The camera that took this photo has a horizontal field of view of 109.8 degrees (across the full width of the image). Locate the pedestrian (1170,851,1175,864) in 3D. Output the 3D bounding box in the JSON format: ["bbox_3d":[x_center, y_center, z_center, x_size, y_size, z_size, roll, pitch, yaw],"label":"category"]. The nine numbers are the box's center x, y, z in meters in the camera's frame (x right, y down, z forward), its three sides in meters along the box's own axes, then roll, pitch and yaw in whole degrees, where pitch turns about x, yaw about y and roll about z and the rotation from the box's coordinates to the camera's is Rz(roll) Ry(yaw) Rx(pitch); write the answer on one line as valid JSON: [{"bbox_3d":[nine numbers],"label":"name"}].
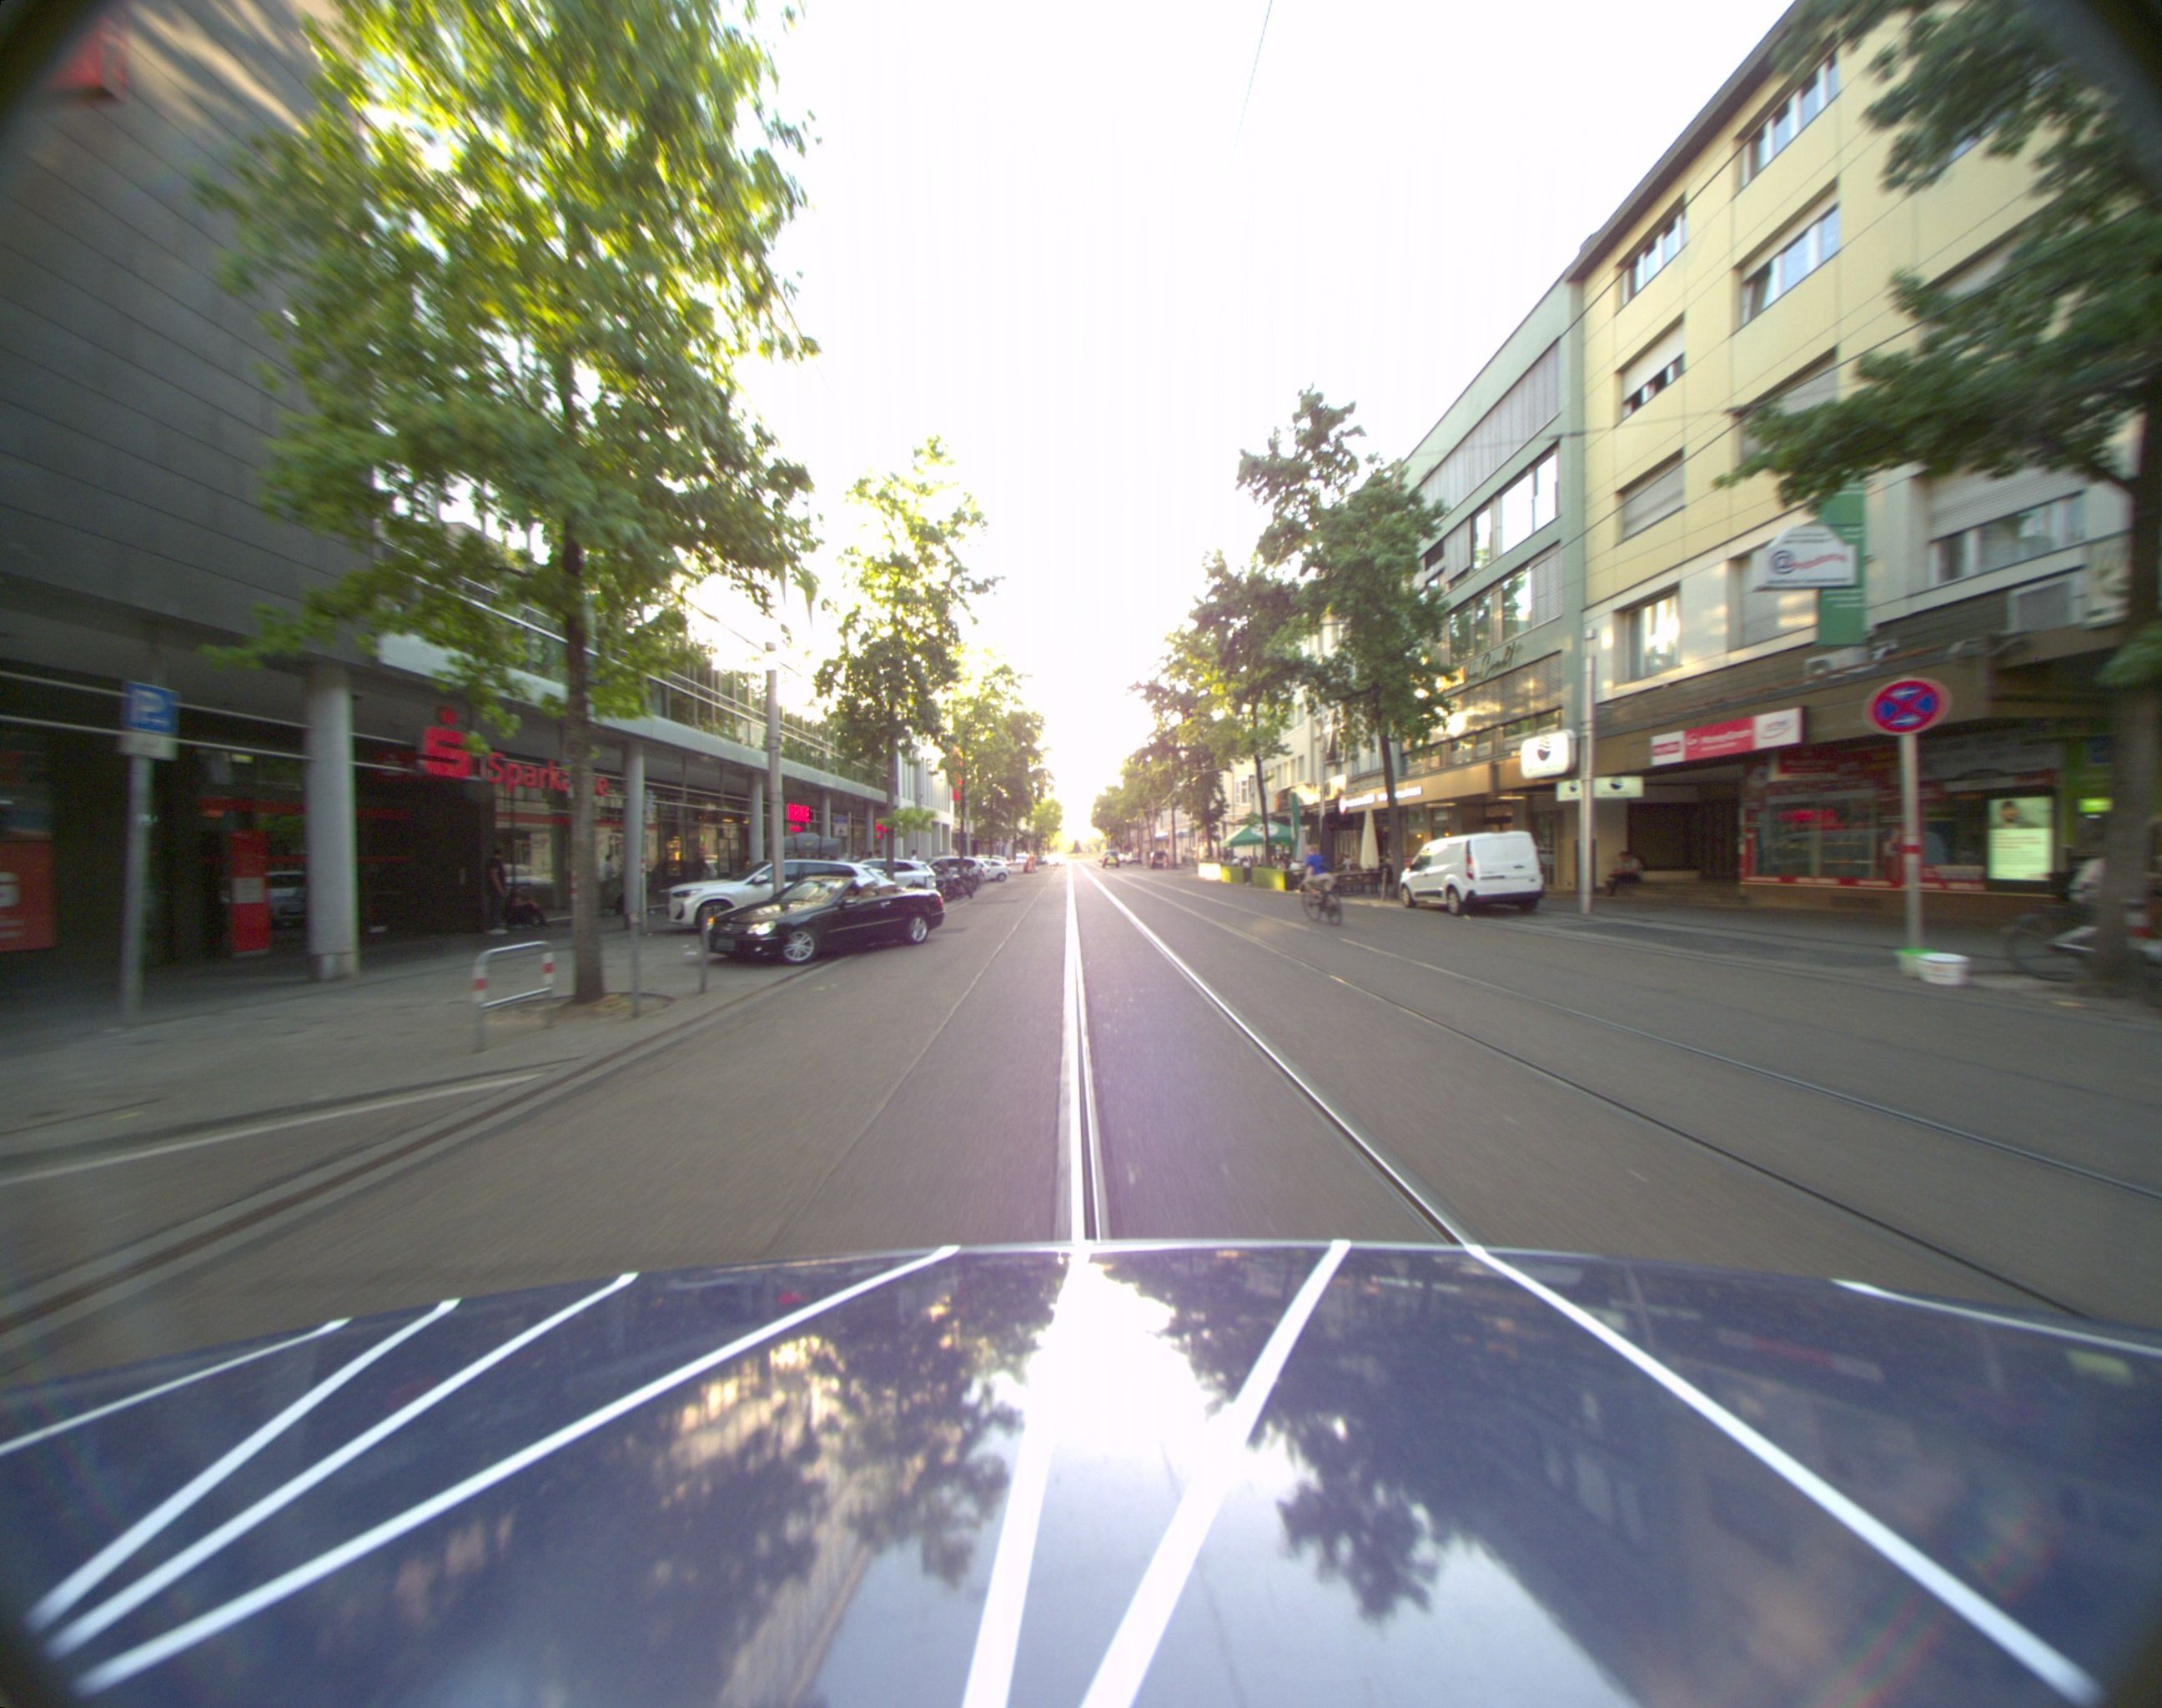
[{"bbox_3d":[9.974,0.387,82.782,0.490,1.451,0.543,-1,1,-2],"label":"pedestrian"}]

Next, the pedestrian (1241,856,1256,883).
[{"bbox_3d":[8.520,0.794,38.710,0.649,1.378,0.650,-1,1,6],"label":"pedestrian"}]

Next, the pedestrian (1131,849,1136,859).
[{"bbox_3d":[7.616,0.009,110.520,0.650,1.451,0.650,-1,1,-2],"label":"pedestrian"}]

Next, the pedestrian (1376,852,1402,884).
[{"bbox_3d":[12.967,0.584,32.013,0.701,1.308,0.786,-1,1,-5],"label":"pedestrian"}]

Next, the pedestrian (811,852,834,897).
[{"bbox_3d":[-9.687,0.751,28.480,0.618,1.681,0.628,0,1,0],"label":"pedestrian"}]

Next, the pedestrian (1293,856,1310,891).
[{"bbox_3d":[9.363,0.810,32.267,0.649,1.451,0.651,-1,1,17],"label":"pedestrian"}]

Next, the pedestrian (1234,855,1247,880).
[{"bbox_3d":[8.952,0.735,42.604,0.649,1.378,0.650,-1,1,6],"label":"pedestrian"}]

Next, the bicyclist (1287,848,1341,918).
[{"bbox_3d":[4.879,0.589,15.949,0.761,1.406,0.897,-2,1,-7],"label":"bicyclist"}]

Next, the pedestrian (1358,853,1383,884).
[{"bbox_3d":[12.210,0.606,32.044,0.701,1.308,0.786,-1,1,-5],"label":"pedestrian"}]

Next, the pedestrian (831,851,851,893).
[{"bbox_3d":[-9.823,0.724,31.117,0.618,1.681,0.628,0,1,0],"label":"pedestrian"}]

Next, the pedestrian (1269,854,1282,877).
[{"bbox_3d":[12.455,0.753,48.682,0.650,1.451,0.650,-1,1,-3],"label":"pedestrian"}]

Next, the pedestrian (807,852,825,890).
[{"bbox_3d":[-11.739,0.747,33.702,0.558,1.681,0.628,0,1,0],"label":"pedestrian"}]

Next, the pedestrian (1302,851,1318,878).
[{"bbox_3d":[12.390,0.545,41.102,0.650,1.451,0.650,-1,1,-3],"label":"pedestrian"}]

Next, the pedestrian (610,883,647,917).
[{"bbox_3d":[-12.113,1.231,20.342,0.627,0.876,0.558,0,1,-1],"label":"pedestrian"}]

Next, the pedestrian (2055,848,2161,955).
[{"bbox_3d":[12.879,0.570,9.439,0.642,1.221,0.665,-6,2,-2],"label":"pedestrian"}]

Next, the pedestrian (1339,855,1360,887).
[{"bbox_3d":[12.213,0.772,34.587,0.650,1.451,0.649,-1,1,-9],"label":"pedestrian"}]

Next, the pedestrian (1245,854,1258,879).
[{"bbox_3d":[9.546,0.718,42.580,0.649,1.378,0.650,-1,1,6],"label":"pedestrian"}]

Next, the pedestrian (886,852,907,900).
[{"bbox_3d":[-6.945,0.814,28.661,0.618,1.789,0.628,0,1,0],"label":"pedestrian"}]

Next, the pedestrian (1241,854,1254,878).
[{"bbox_3d":[9.595,0.702,43.792,0.649,1.378,0.650,-1,1,6],"label":"pedestrian"}]

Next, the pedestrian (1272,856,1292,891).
[{"bbox_3d":[8.567,0.832,32.417,0.649,1.451,0.650,-1,1,0],"label":"pedestrian"}]

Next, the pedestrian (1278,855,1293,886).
[{"bbox_3d":[9.518,0.768,35.387,0.649,1.451,0.651,-1,1,13],"label":"pedestrian"}]

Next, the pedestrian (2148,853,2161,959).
[{"bbox_3d":[12.804,0.583,8.538,0.642,1.221,0.665,-6,2,-2],"label":"pedestrian"}]

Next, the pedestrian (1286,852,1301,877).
[{"bbox_3d":[12.487,0.637,44.701,0.650,1.451,0.650,-1,1,-3],"label":"pedestrian"}]

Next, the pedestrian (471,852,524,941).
[{"bbox_3d":[-11.807,0.840,15.379,0.558,1.762,0.628,0,1,0],"label":"pedestrian"}]

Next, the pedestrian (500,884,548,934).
[{"bbox_3d":[-12.025,1.180,16.427,0.628,1.030,0.558,0,1,-9],"label":"pedestrian"}]

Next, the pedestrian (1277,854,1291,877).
[{"bbox_3d":[13.027,0.735,48.808,0.650,1.451,0.650,-1,1,-3],"label":"pedestrian"}]

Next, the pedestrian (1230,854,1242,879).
[{"bbox_3d":[8.945,0.720,43.846,0.649,1.378,0.650,-1,1,6],"label":"pedestrian"}]

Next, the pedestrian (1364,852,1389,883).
[{"bbox_3d":[12.826,0.577,32.973,0.701,1.308,0.786,-1,1,-5],"label":"pedestrian"}]

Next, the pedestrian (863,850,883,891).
[{"bbox_3d":[-8.589,0.684,31.404,0.618,1.681,0.628,0,1,0],"label":"pedestrian"}]

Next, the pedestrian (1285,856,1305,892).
[{"bbox_3d":[8.860,0.835,31.479,0.648,1.451,0.651,-1,1,29],"label":"pedestrian"}]

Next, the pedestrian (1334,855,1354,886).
[{"bbox_3d":[12.298,0.758,35.543,0.650,1.451,0.650,-1,1,-2],"label":"pedestrian"}]

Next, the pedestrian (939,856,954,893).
[{"bbox_3d":[-6.221,0.949,35.093,0.618,1.681,0.627,-1,1,-5],"label":"pedestrian"}]

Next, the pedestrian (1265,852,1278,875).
[{"bbox_3d":[12.467,0.601,49.615,0.650,1.451,0.650,-1,1,-3],"label":"pedestrian"}]

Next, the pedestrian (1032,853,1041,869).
[{"bbox_3d":[-4.248,0.652,72.290,0.650,1.451,0.649,-1,1,-17],"label":"pedestrian"}]
